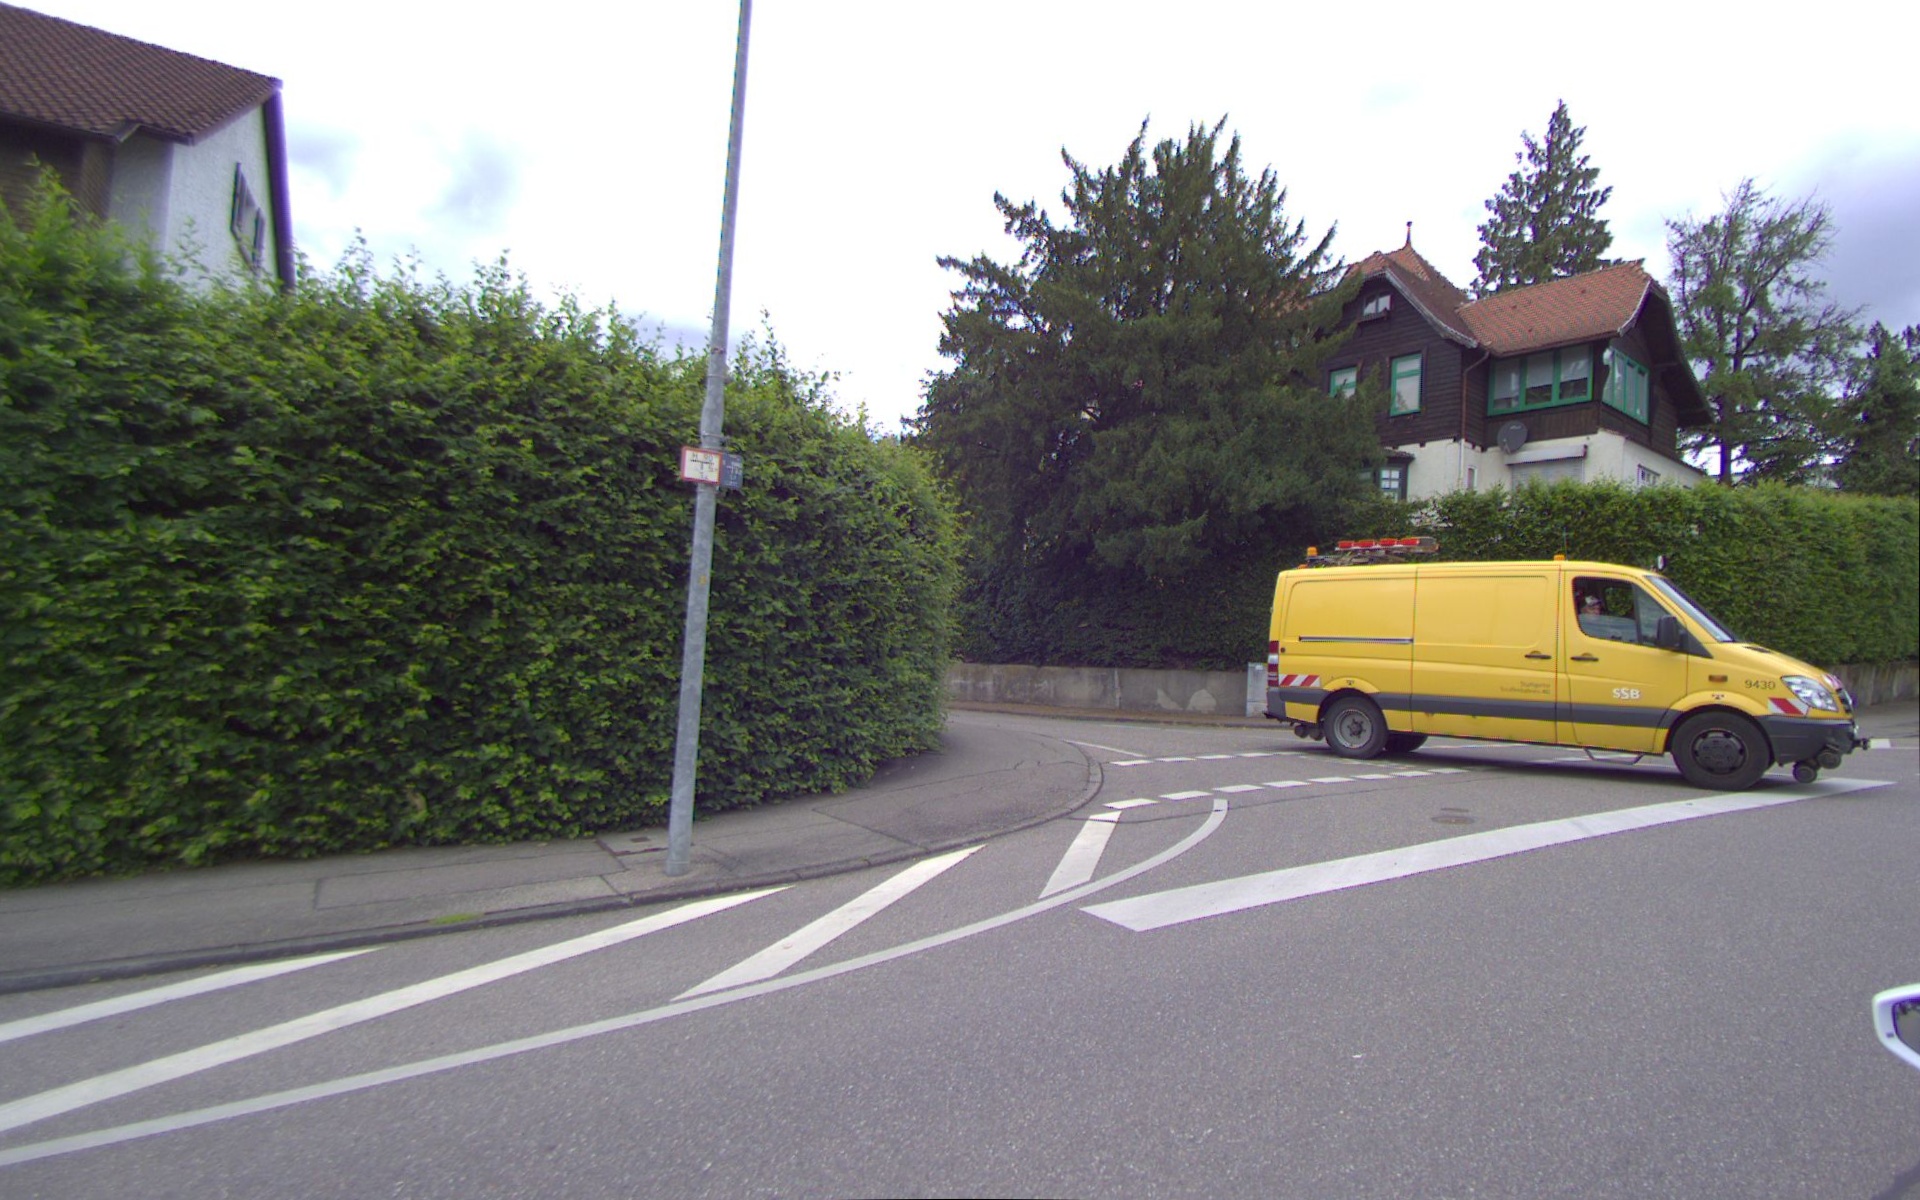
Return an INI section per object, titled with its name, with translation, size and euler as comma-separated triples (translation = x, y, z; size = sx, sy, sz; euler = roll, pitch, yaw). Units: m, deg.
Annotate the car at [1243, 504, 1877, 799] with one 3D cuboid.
[car]
translation = 6.709, 0.554, 11.907
size = 6.056, 2.635, 2.355
euler = -2, -2, 42
